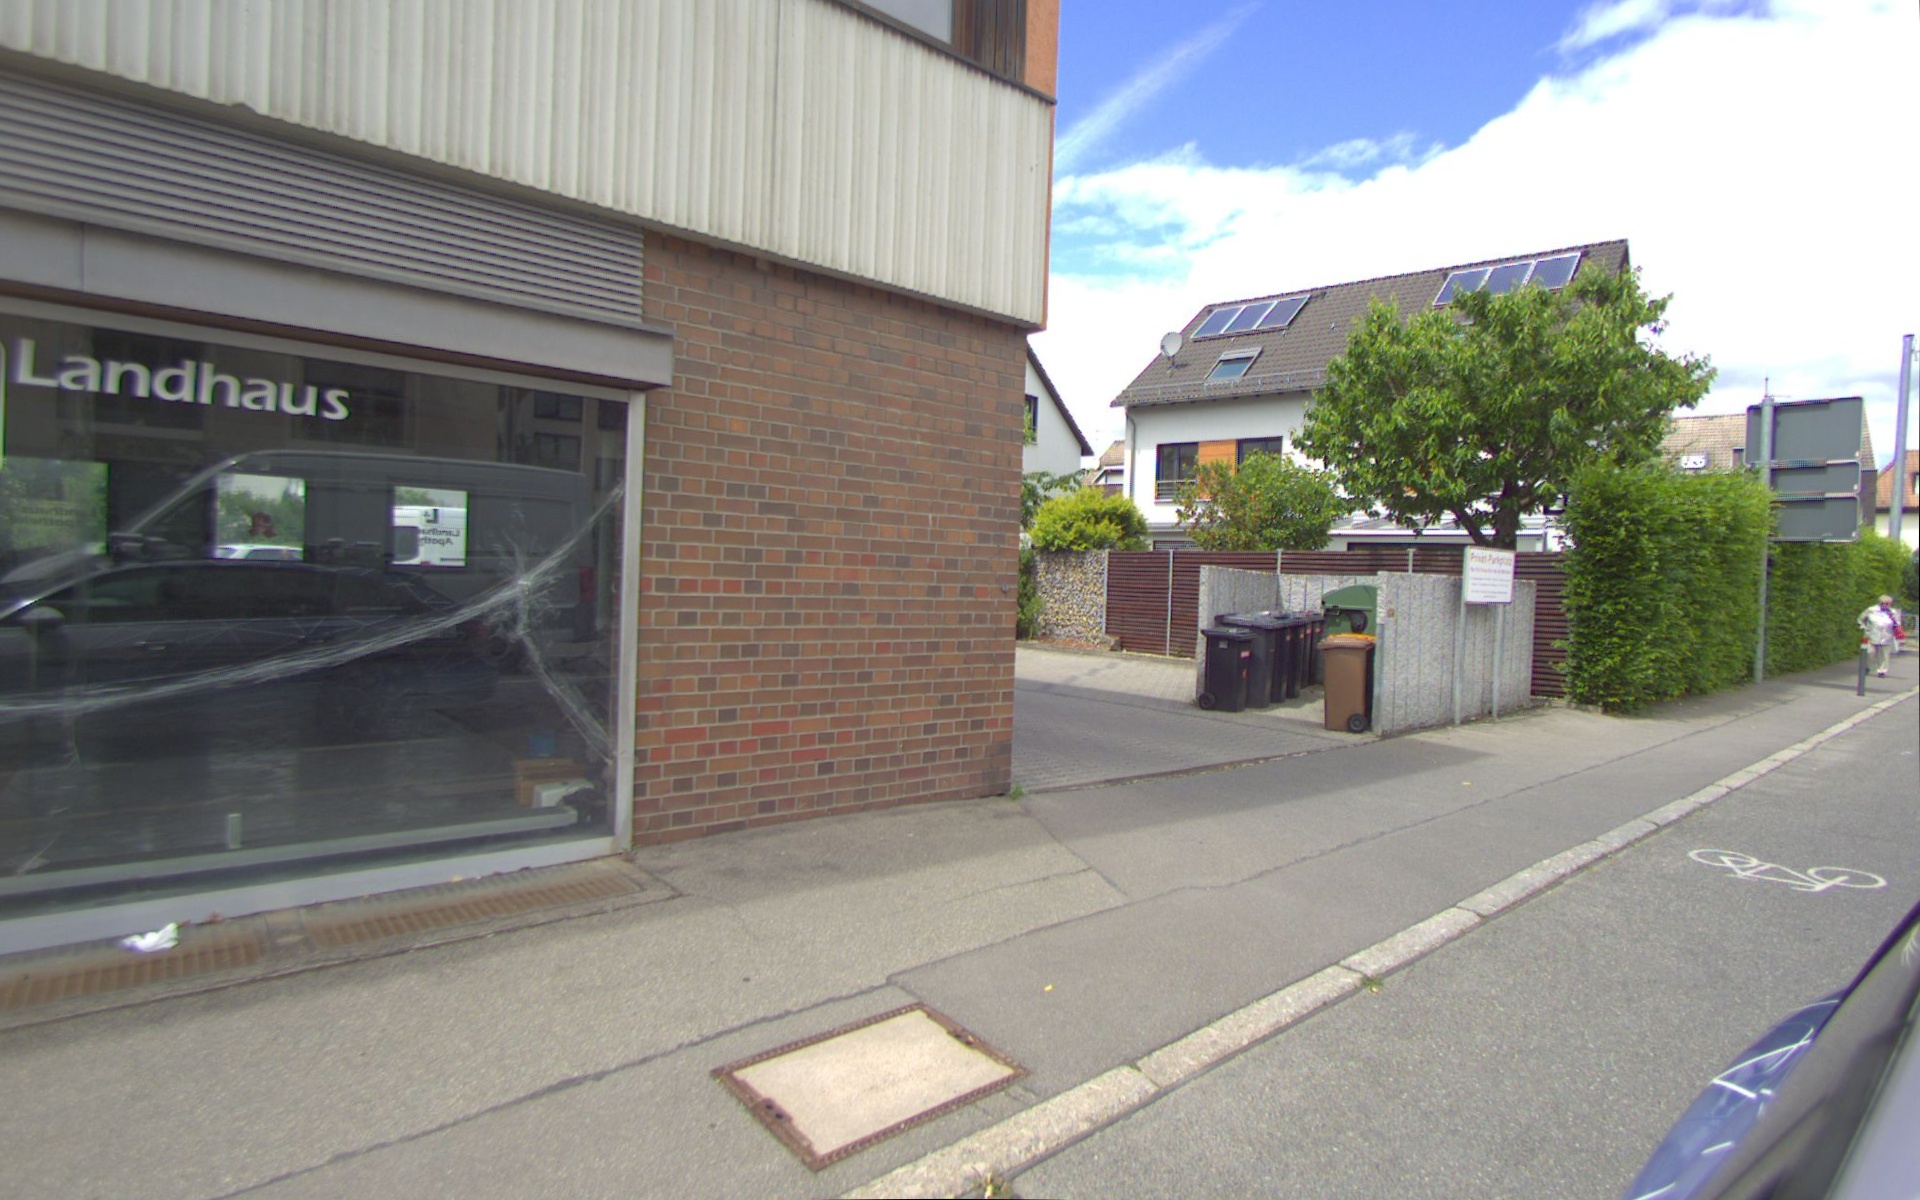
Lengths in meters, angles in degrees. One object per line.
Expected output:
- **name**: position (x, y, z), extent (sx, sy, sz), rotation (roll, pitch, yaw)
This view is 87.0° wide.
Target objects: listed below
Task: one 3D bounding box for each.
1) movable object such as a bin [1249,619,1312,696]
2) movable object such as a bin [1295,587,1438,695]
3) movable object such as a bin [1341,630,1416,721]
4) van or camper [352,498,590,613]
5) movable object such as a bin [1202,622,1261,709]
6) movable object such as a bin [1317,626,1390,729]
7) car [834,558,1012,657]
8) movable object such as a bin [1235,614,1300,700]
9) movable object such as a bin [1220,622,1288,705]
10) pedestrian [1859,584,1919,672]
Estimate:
- **movable object such as a bin**: position (4.031, 0.713, 12.733), extent (0.630, 0.903, 0.534), rotation (1, 1, 33)
- **movable object such as a bin**: position (5.306, 0.489, 13.197), extent (1.509, 1.278, 1.190), rotation (0, 1, -43)
- **movable object such as a bin**: position (4.493, 0.790, 10.860), extent (0.532, 0.903, 0.668), rotation (2, 1, 43)
- **van or camper**: position (-12.050, -1.072, 25.476), extent (2.034, 2.574, 5.474), rotation (2, 2, 21)
- **movable object such as a bin**: position (3.059, 0.724, 11.403), extent (0.490, 0.924, 0.534), rotation (1, 1, 33)
- **movable object such as a bin**: position (4.006, 0.764, 10.282), extent (0.530, 0.963, 0.678), rotation (1, 1, 36)
- **car**: position (-0.550, 0.078, 18.351), extent (1.768, 1.555, 3.767), rotation (2, 2, 23)
- **movable object such as a bin**: position (3.730, 0.680, 12.279), extent (0.624, 0.979, 0.534), rotation (1, 1, 33)
- **movable object such as a bin**: position (3.436, 0.721, 11.816), extent (0.630, 0.903, 0.534), rotation (1, 1, 33)
- **pedestrian**: position (18.058, 0.525, 19.607), extent (0.641, 1.637, 0.801), rotation (1, 3, -39)
